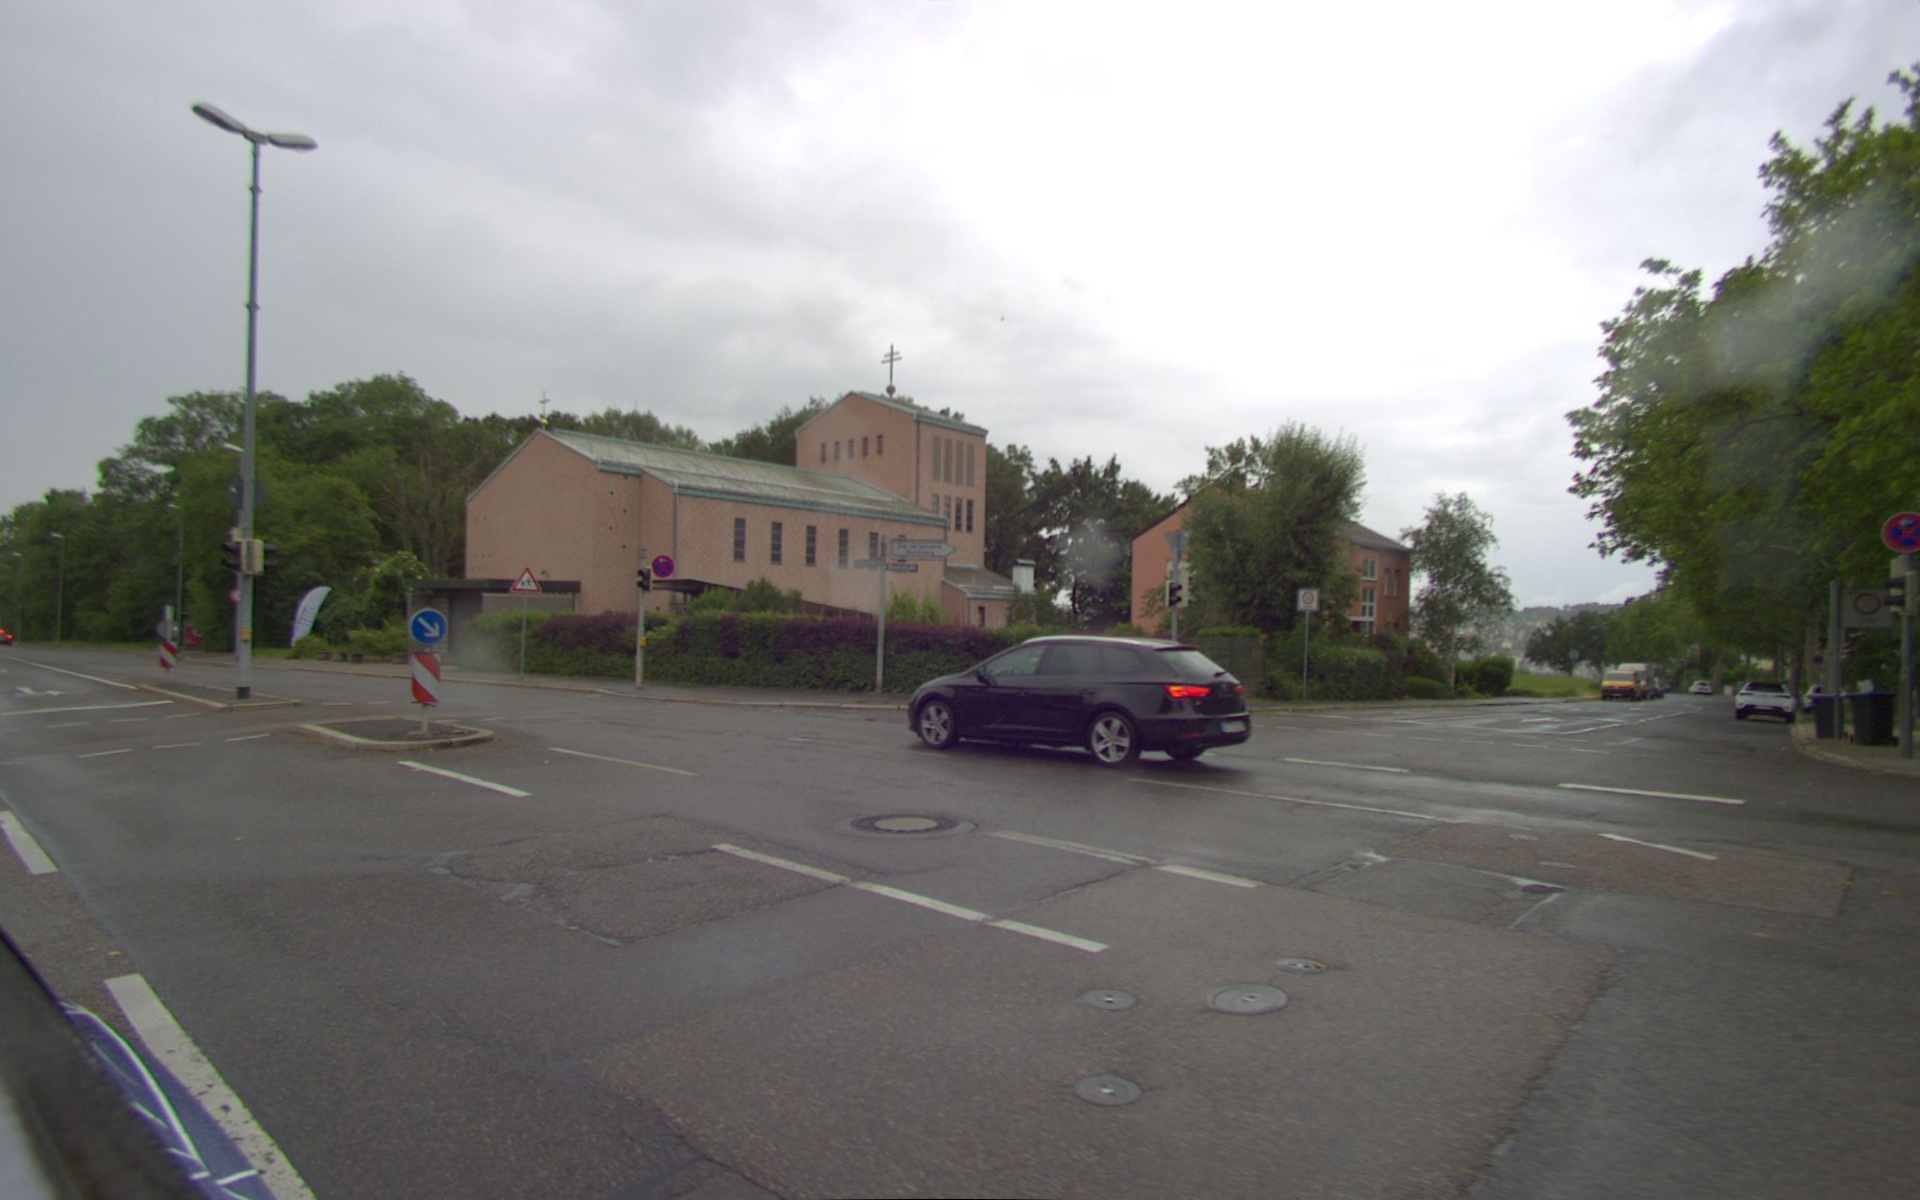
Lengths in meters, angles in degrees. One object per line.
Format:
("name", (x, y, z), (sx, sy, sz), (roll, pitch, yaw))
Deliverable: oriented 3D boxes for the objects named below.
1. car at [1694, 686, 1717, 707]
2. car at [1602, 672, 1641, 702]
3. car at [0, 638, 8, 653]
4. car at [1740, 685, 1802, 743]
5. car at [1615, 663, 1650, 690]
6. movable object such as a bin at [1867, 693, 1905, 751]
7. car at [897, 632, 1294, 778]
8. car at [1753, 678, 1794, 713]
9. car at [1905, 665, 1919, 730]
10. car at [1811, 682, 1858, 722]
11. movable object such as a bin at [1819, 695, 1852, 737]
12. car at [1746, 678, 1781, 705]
("car", (87.968, 11.337, 119.436), (1.997, 2.029, 3.949), (-1, 0, 38))
("car", (43.489, 5.666, 66.513), (1.709, 1.642, 3.634), (-1, 0, 41))
("car", (-101.916, 4.779, 106.682), (4.315, 1.603, 1.888), (-2, -2, 41))
("car", (31.499, 4.358, 39.270), (1.709, 1.822, 3.634), (-1, 0, 41))
("car", (49.208, 5.587, 74.022), (1.709, 1.642, 3.634), (-1, 0, 41))
("movable object such as a bin", (17.955, 2.354, 19.625), (0.444, 1.051, 0.412), (-1, -1, -31))
("car", (1.470, 1.139, 12.143), (4.413, 1.438, 1.888), (-3, -3, 41))
("car", (46.628, 5.459, 57.973), (1.709, 1.642, 3.634), (-1, 0, 41))
("car", (26.208, 2.514, 25.471), (3.499, 1.566, 1.787), (-1, 0, 44))
("car", (44.503, 5.167, 51.530), (1.709, 1.642, 3.634), (-1, 0, 41))
("movable object such as a bin", (20.647, 2.732, 23.874), (0.444, 0.912, 0.455), (-1, -1, -31))
("car", (54.321, 6.166, 68.395), (1.659, 1.428, 3.634), (-1, 0, 41))
